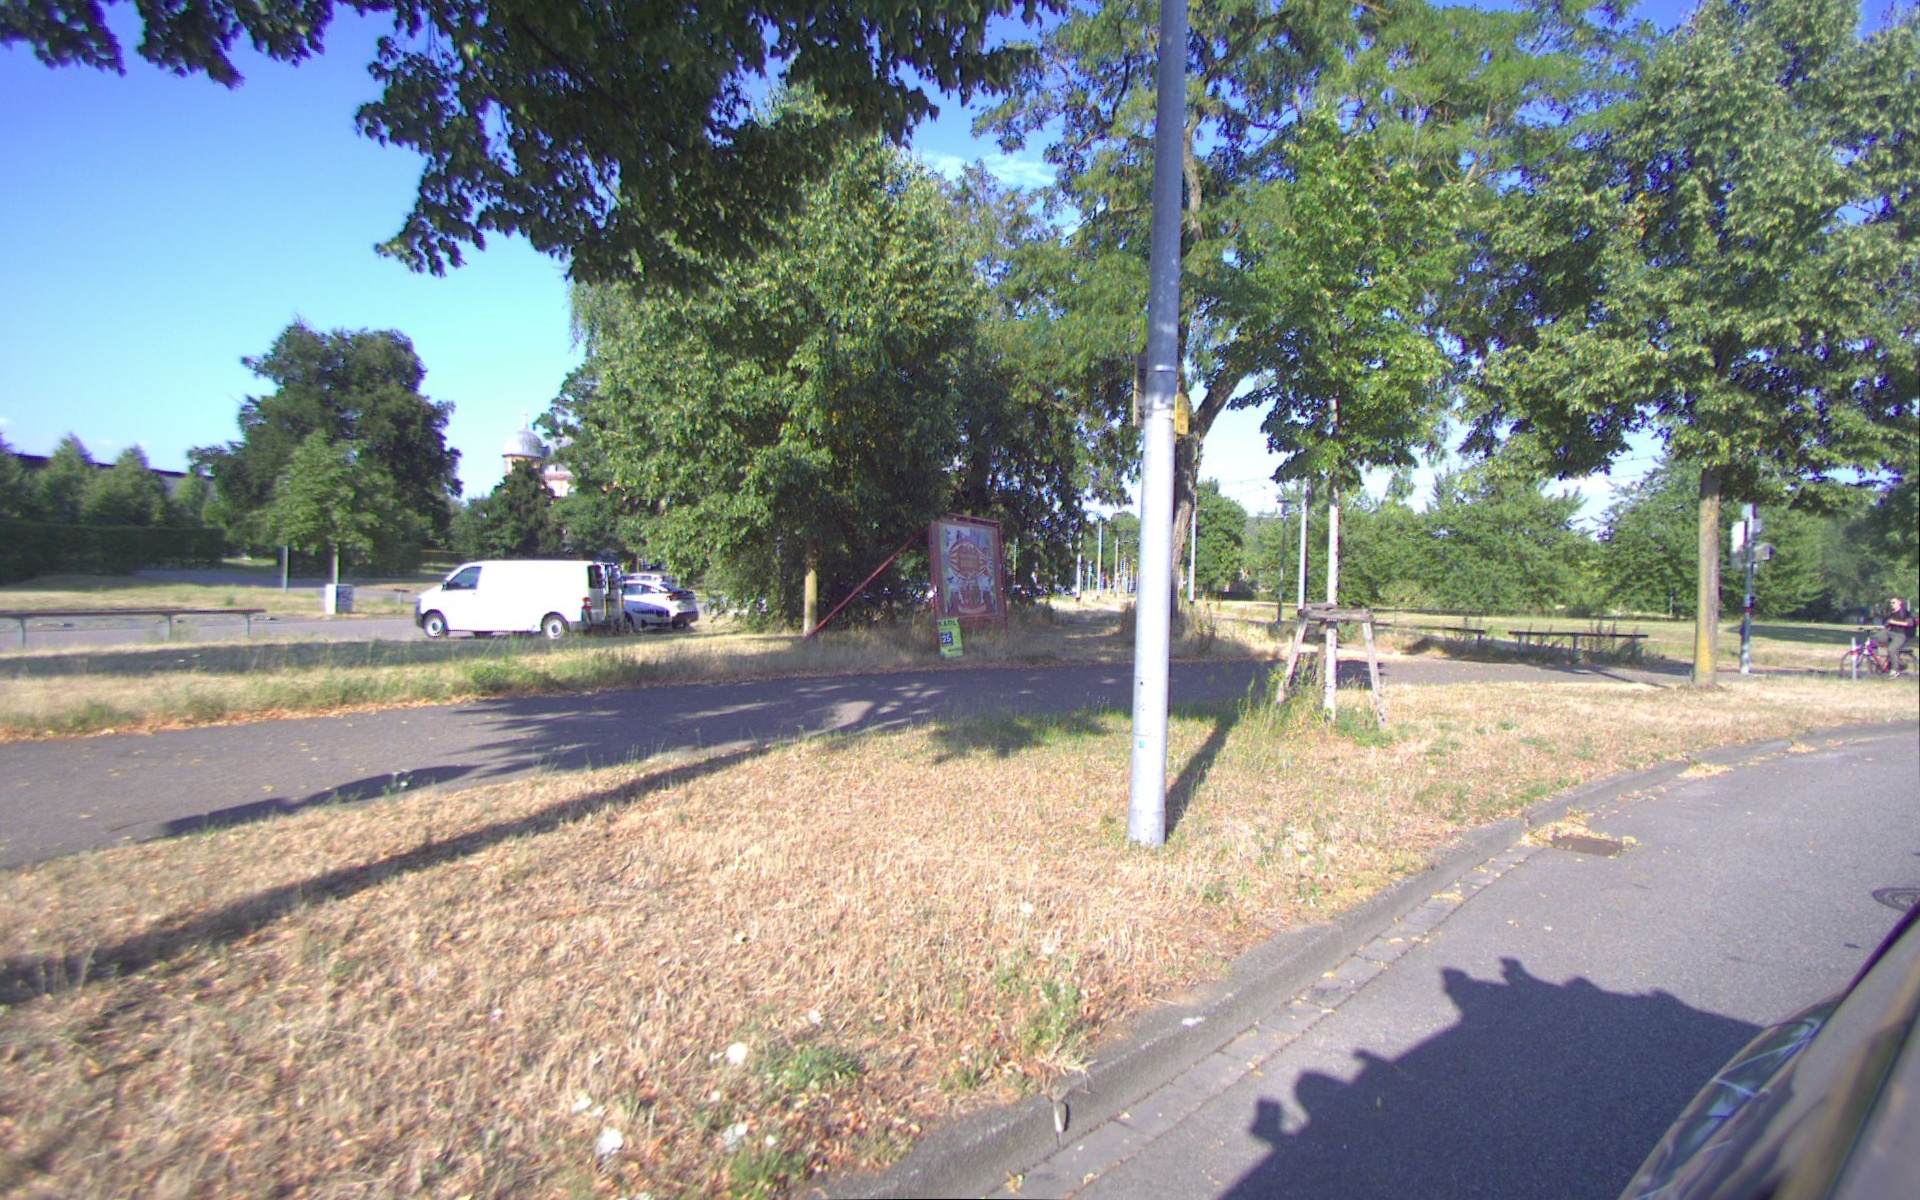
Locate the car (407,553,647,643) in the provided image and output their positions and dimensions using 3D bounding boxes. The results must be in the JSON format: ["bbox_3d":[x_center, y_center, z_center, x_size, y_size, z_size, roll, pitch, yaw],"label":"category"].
[{"bbox_3d":[-10.684,-0.093,25.109,5.139,2.039,2.261,1,1,13],"label":"car"}]

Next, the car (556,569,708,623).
[{"bbox_3d":[-9.822,-0.147,30.427,3.940,1.461,1.864,2,1,13],"label":"car"}]

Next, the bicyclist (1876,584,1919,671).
[{"bbox_3d":[20.504,0.590,21.735,0.920,1.823,0.728,2,1,-1],"label":"bicyclist"}]

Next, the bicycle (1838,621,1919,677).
[{"bbox_3d":[20.188,1.052,21.732,2.084,1.137,0.641,2,1,-1],"label":"bicycle"}]

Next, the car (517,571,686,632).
[{"bbox_3d":[-9.705,0.016,27.486,3.940,1.461,1.864,2,1,13],"label":"car"}]
